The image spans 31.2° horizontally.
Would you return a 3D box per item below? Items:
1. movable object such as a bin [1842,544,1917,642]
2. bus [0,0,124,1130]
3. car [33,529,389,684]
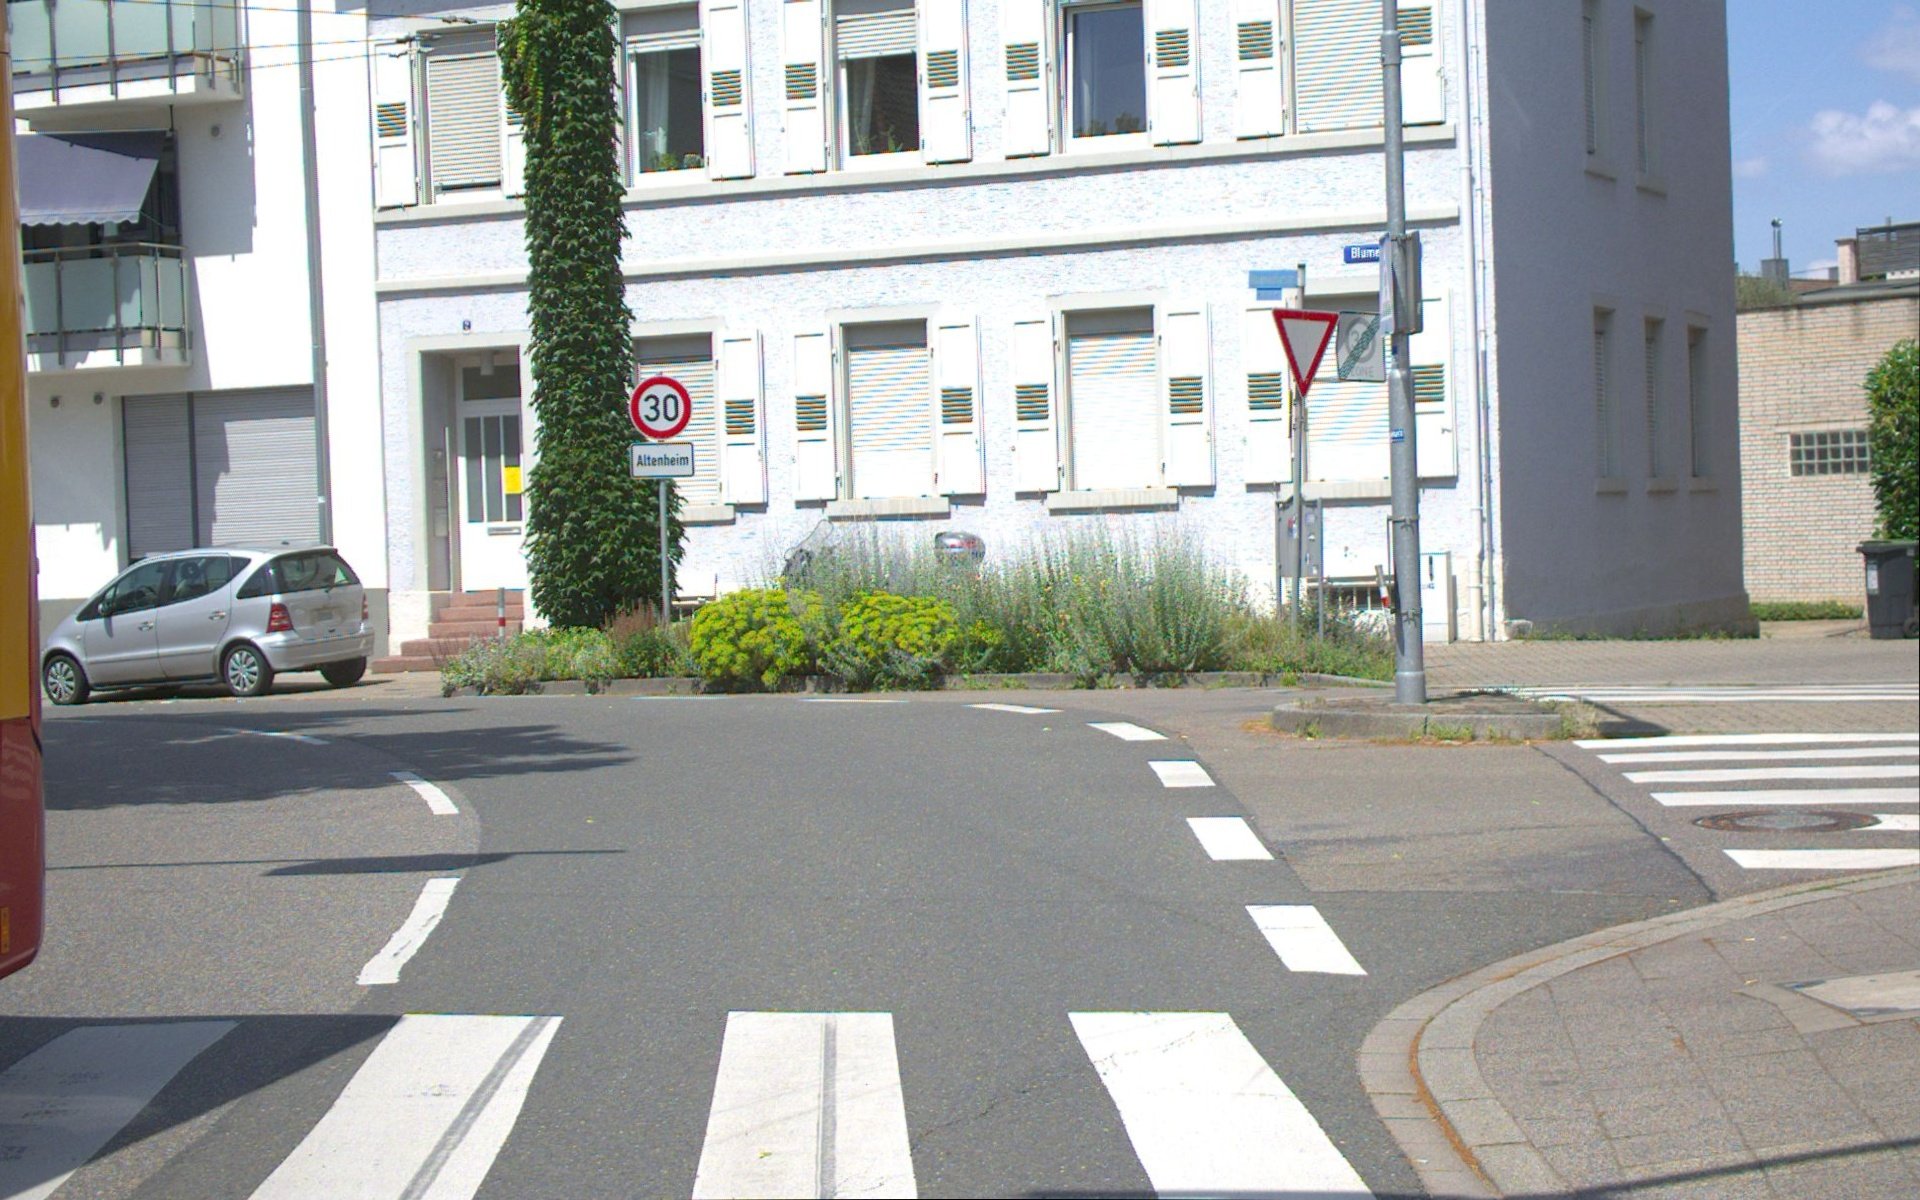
[{"bbox_3d":[8.677,-0.064,32.455,0.418,0.913,0.560,0,0,-24],"label":"movable object such as a bin"},{"bbox_3d":[-4.667,-0.174,2.920,2.781,3.197,12.301,0,2,11],"label":"bus"},{"bbox_3d":[-8.007,0.071,36.677,3.612,1.581,1.581,0,0,31],"label":"car"}]
